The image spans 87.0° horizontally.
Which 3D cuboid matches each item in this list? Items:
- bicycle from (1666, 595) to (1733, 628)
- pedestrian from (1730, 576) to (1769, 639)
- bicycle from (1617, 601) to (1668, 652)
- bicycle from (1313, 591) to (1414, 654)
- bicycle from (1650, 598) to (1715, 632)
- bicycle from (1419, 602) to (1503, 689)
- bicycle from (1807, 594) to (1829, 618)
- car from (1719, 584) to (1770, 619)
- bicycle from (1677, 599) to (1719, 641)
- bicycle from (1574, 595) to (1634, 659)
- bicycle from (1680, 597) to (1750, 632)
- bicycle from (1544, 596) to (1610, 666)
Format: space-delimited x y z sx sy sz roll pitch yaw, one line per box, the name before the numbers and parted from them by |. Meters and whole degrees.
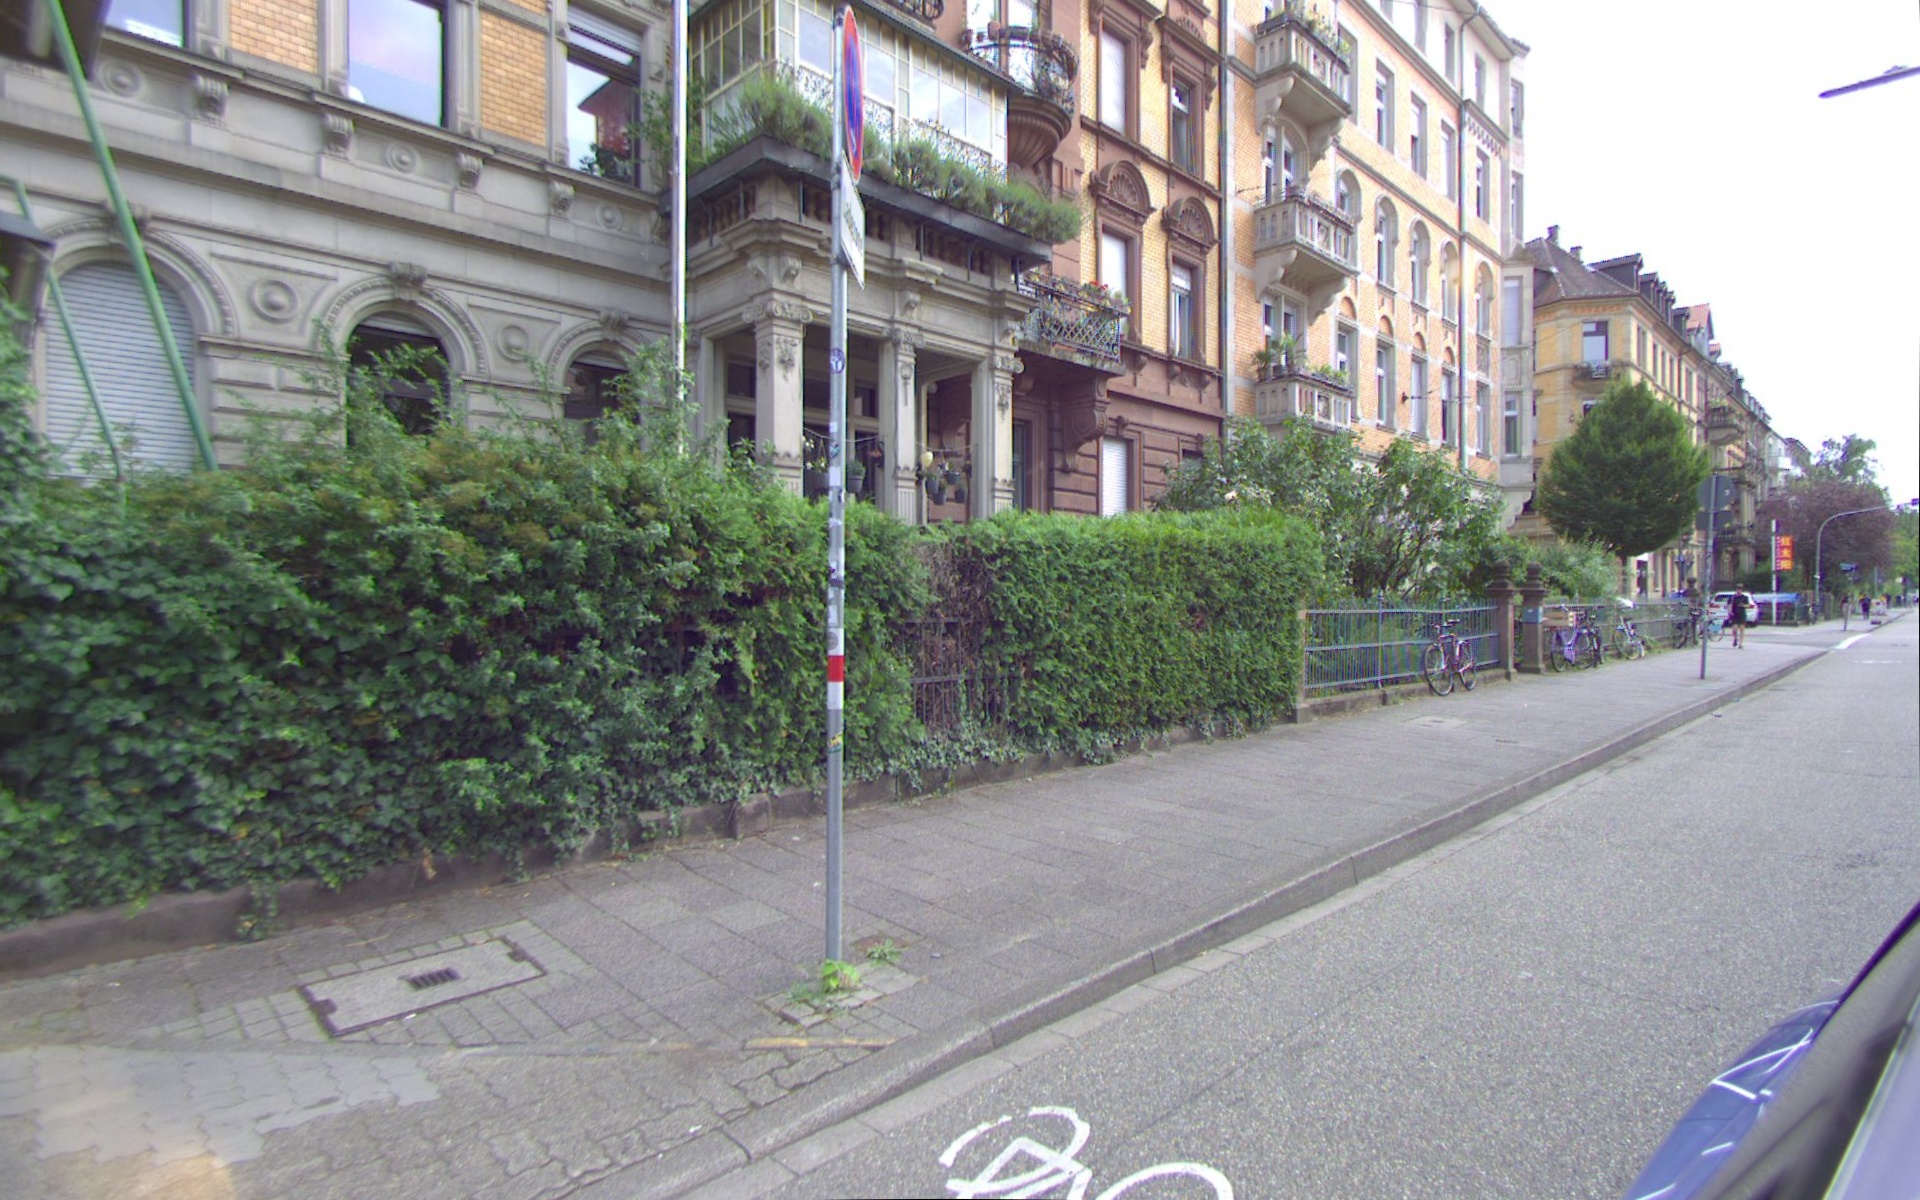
bicycle | 26.335 0.400 36.083 0.522 1.142 1.896 0 0 -28
pedestrian | 20.875 0.188 26.755 0.822 1.644 0.731 0 0 -45
bicycle | 14.695 0.546 21.768 0.579 0.994 1.645 5 4 44
bicycle | 7.545 0.399 18.965 1.667 1.126 0.602 1 1 44
bicycle | 25.376 0.514 35.579 0.521 1.142 1.897 0 0 -23
bicycle | 7.034 0.601 14.172 0.579 1.126 1.645 0 0 44
bicycle | 41.463 0.279 48.911 1.843 1.127 0.629 -1 0 -44
car | 35.968 0.031 46.383 1.749 1.544 3.943 0 1 40
bicycle | 18.834 0.494 25.823 0.579 0.994 1.645 5 4 44
bicycle | 12.220 0.487 19.183 0.579 1.125 1.645 5 4 44
bicycle | 24.721 0.467 33.159 1.838 1.127 0.631 0 0 -1
bicycle | 10.861 0.523 17.796 0.579 1.125 1.645 5 4 44
